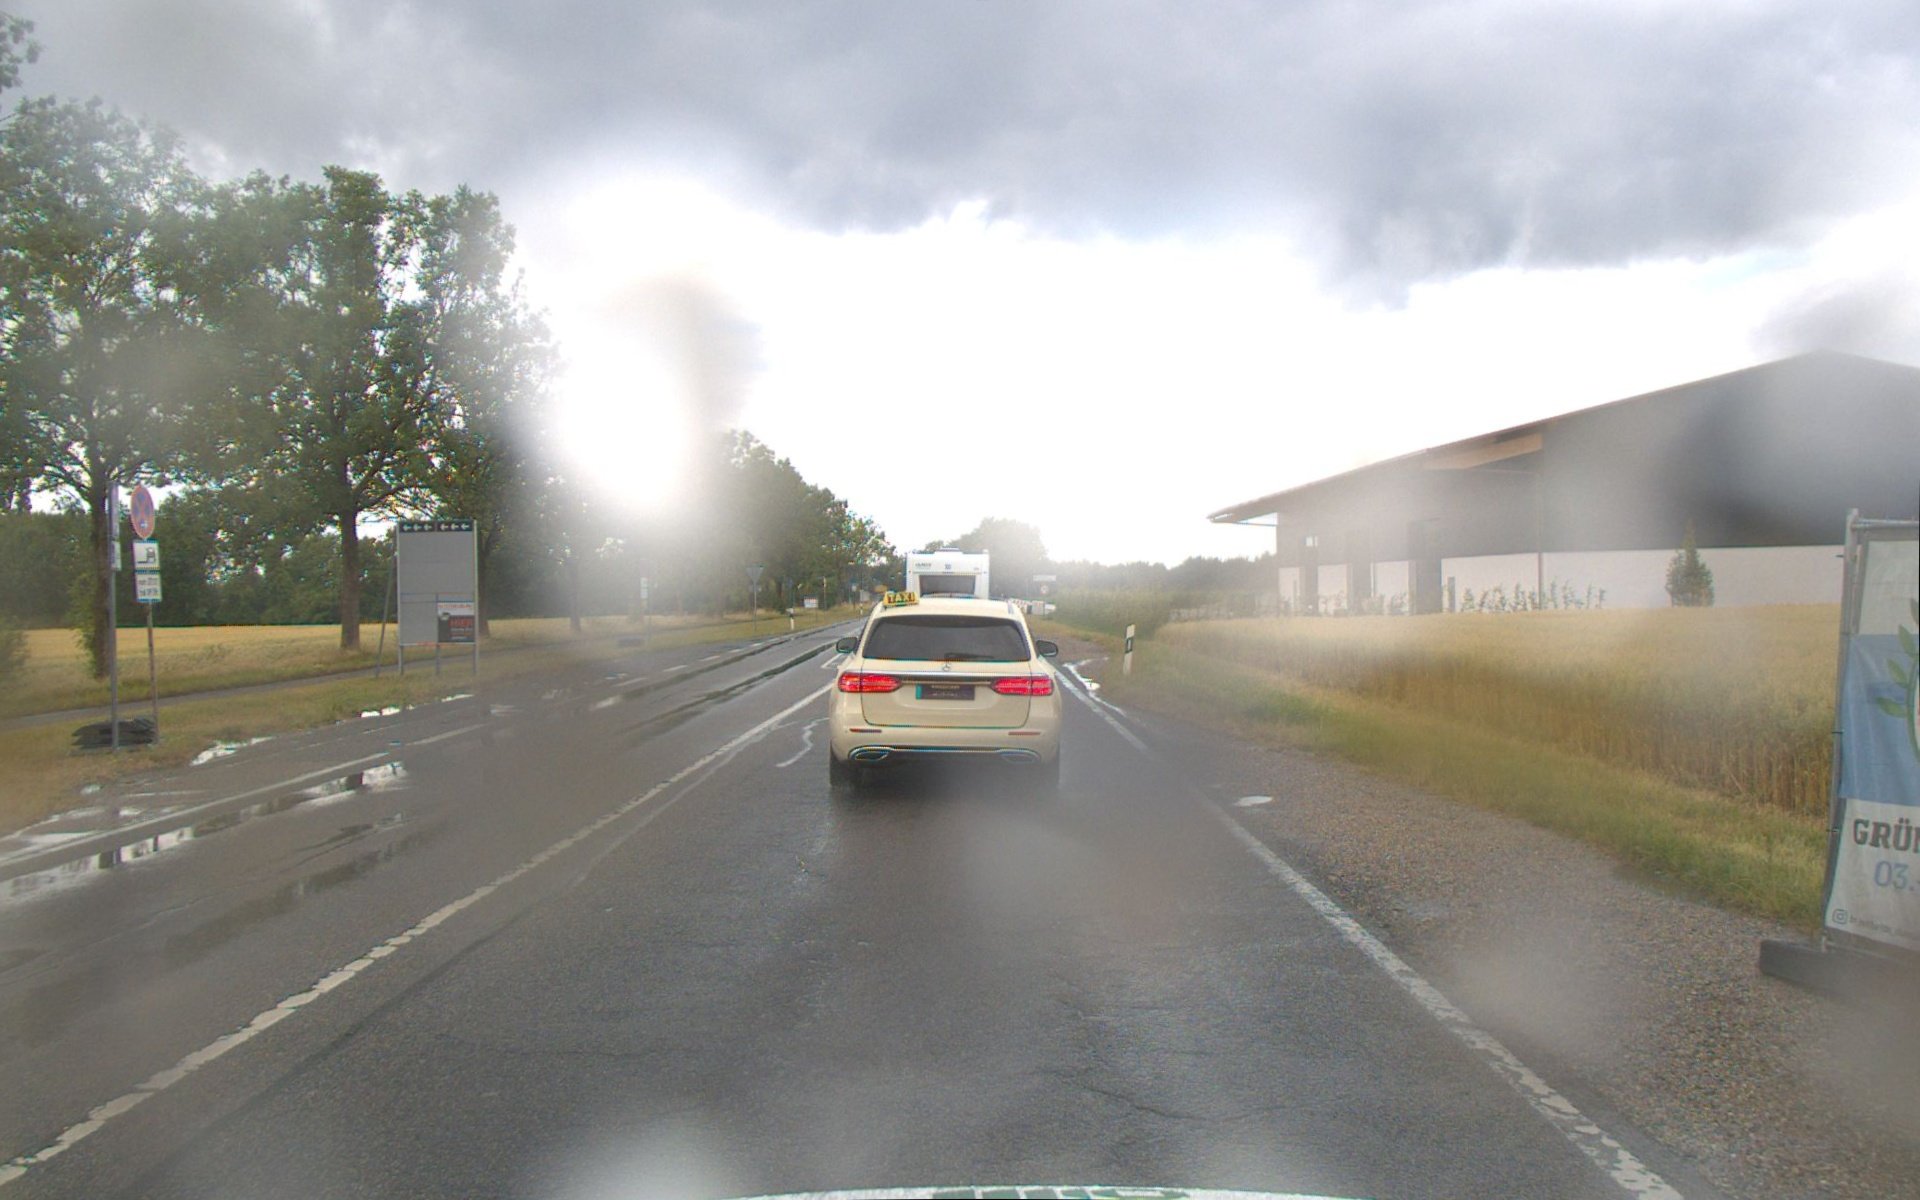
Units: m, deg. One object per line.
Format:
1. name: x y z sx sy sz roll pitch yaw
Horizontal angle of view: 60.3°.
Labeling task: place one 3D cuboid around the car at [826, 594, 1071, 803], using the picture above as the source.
1. car: -0.075 0.703 13.917 1.760 1.490 4.031 0 0 0

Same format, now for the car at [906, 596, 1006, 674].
1. car: -0.093 0.652 32.838 1.856 1.454 3.927 0 0 -1

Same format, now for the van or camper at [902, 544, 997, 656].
1. van or camper: -0.236 -0.006 46.834 2.445 2.880 5.934 -2 0 1

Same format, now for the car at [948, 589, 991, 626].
1. car: 0.459 0.329 75.246 1.855 1.618 3.928 0 0 1
